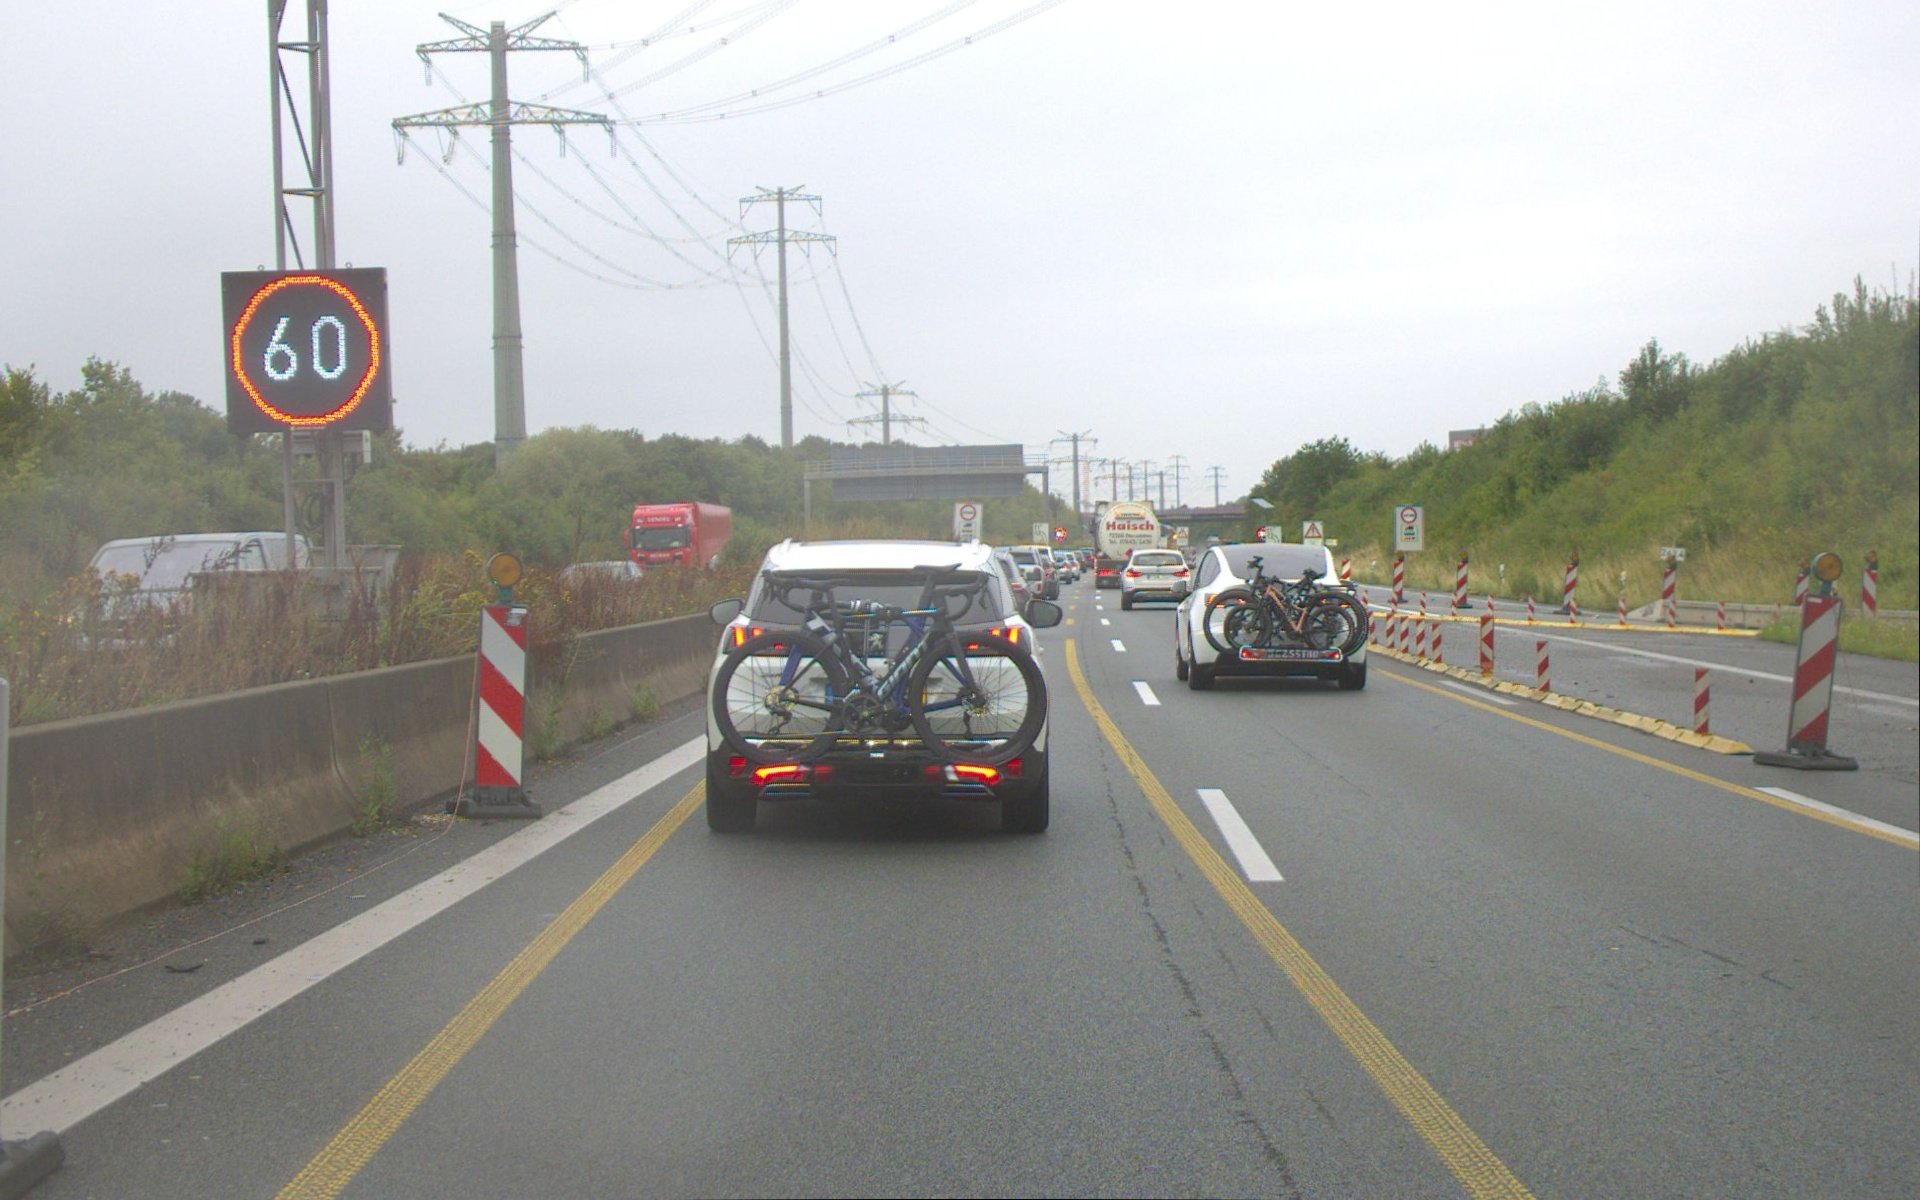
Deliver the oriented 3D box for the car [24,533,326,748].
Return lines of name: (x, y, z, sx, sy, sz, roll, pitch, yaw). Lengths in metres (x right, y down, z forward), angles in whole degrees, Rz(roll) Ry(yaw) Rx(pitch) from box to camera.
car: (-8.049, 0.359, 35.752, 1.768, 2.007, 5.254, 2, 1, 1)

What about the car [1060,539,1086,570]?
car: (7.410, -2.999, 225.883, 1.654, 2.007, 4.000, 0, 1, 3)

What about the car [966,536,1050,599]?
car: (1.197, -0.842, 88.032, 1.993, 1.578, 4.000, 0, 1, -1)

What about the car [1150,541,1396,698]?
car: (3.390, 0.162, 38.325, 2.045, 1.590, 5.802, 1, 1, -2)

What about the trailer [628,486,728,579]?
trailer: (-12.170, -2.848, 149.510, 3.037, 3.801, 13.978, 1, 0, 0)

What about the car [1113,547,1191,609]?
car: (4.861, -0.589, 87.400, 1.870, 1.529, 4.196, 0, 1, 2)

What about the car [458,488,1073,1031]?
car: (-0.641, 0.490, 13.416, 1.993, 1.754, 4.000, -2, 1, 0)

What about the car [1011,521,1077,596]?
car: (2.792, -1.398, 115.302, 1.993, 2.006, 4.002, 1, 8, -1)

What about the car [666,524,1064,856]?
car: (-0.427, 0.402, 19.005, 1.928, 1.605, 4.595, 0, 1, 1)

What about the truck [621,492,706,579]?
truck: (-12.246, -2.640, 142.334, 3.024, 3.519, 4.926, 1, 0, 1)

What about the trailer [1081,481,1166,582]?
trailer: (6.526, -2.676, 138.592, 2.637, 3.880, 10.544, 1, 0, -2)
